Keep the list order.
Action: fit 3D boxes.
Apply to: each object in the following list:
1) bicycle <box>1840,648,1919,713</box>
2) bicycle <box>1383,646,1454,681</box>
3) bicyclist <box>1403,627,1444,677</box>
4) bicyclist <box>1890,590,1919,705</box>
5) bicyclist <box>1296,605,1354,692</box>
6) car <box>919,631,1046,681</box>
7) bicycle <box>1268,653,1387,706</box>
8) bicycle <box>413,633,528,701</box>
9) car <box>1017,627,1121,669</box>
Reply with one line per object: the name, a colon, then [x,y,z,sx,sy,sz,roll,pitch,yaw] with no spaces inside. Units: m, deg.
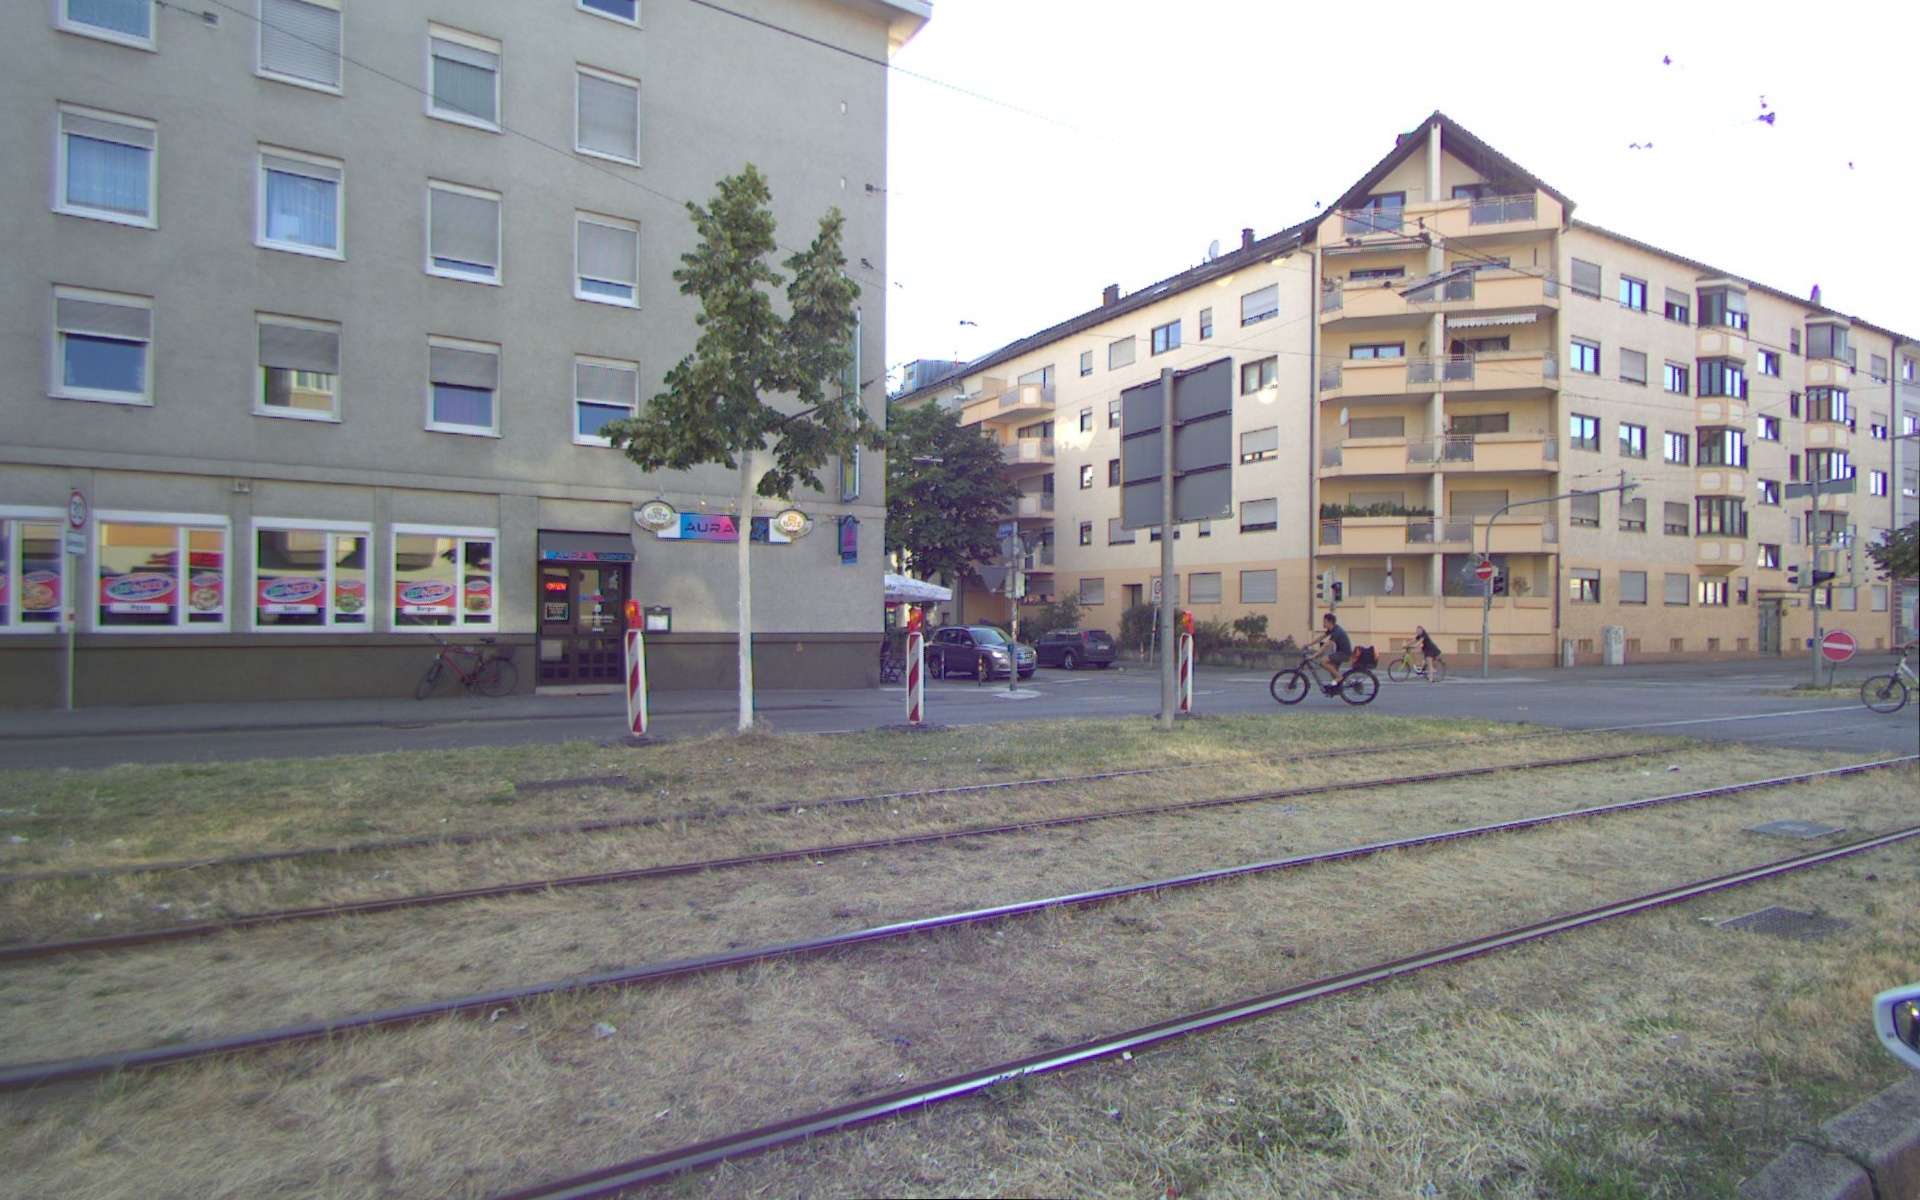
bicycle: [15.169,1.261,15.665,0.738,0.971,2.061,1,-2,-32]
bicycle: [13.376,1.857,29.316,1.846,0.997,0.529,0,-1,0]
bicyclist: [13.514,1.511,29.321,0.946,1.466,0.529,0,-1,0]
bicyclist: [15.170,0.749,15.656,0.712,1.776,0.789,2,0,-32]
bicyclist: [6.661,0.872,18.362,0.887,1.546,0.648,0,-1,10]
car: [0.646,1.699,31.350,1.751,1.406,4.074,2,-2,-39]
bicycle: [6.691,1.438,18.377,1.944,0.906,0.787,0,-1,10]
bicycle: [-8.582,1.145,17.609,1.757,1.129,0.743,1,-1,-31]
car: [4.007,1.756,37.524,1.772,1.458,3.933,1,-2,-34]
